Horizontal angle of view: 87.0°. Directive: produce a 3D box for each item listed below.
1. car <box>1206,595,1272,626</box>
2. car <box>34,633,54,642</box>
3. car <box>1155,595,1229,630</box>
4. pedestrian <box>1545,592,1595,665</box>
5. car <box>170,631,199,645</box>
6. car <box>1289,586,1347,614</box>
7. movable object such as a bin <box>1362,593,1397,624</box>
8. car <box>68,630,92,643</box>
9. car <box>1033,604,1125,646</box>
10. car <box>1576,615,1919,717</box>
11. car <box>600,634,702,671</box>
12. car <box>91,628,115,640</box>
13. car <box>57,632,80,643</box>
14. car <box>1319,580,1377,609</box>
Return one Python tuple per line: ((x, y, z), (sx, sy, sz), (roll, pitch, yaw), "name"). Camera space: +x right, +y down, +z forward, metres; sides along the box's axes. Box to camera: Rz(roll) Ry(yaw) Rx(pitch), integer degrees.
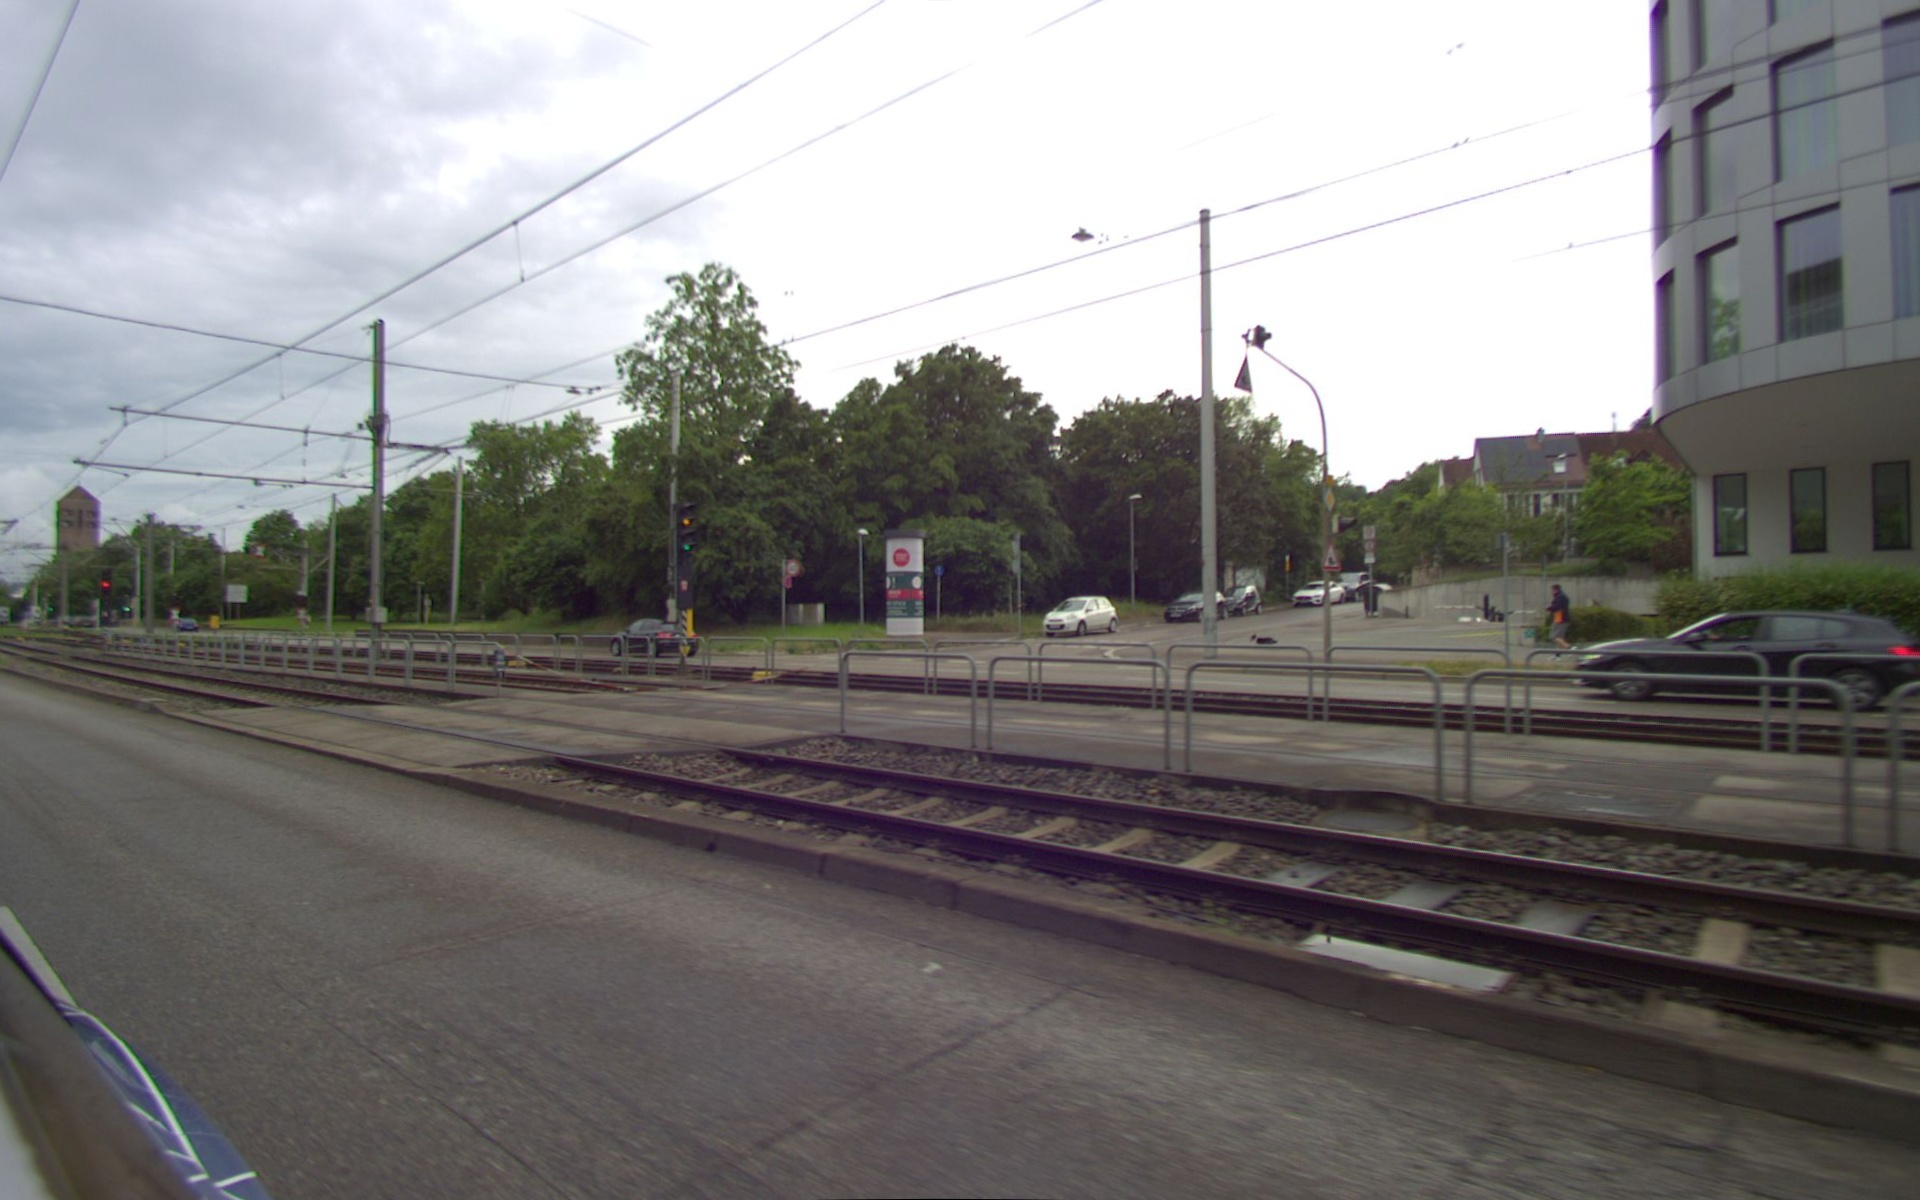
((14.693, 0.524, 53.095), (1.871, 1.421, 4.035), (-2, 1, 39), "car")
((-148.293, 6.112, 163.879), (4.680, 1.458, 1.906), (-2, -2, 42), "car")
((11.188, 0.578, 48.561), (1.871, 1.464, 4.035), (-2, 1, 39), "car")
((14.260, 0.657, 23.660), (0.845, 1.660, 0.716), (-1, -1, 42), "pedestrian")
((-78.586, 3.813, 102.512), (3.901, 1.408, 1.741), (-2, -2, 44), "car")
((21.328, -0.012, 60.168), (1.943, 1.485, 4.215), (-2, 1, 39), "car")
((19.665, 0.396, 47.443), (1.269, 1.406, 1.257), (-2, 1, 34), "movable object such as a bin")
((-108.293, 4.490, 124.518), (4.309, 1.498, 1.870), (-2, -2, 44), "car")
((4.892, 0.987, 41.195), (1.924, 1.464, 3.881), (-2, 1, 39), "car")
((11.982, 0.936, 15.356), (4.257, 1.357, 1.779), (-2, -2, 41), "car")
((-11.238, 1.870, 36.732), (3.986, 1.253, 1.738), (-2, -2, 41), "car")
((-112.008, 4.426, 132.287), (4.848, 1.607, 1.926), (-2, -2, 44), "car")
((-131.012, 5.487, 148.702), (5.158, 1.601, 2.066), (-2, -2, 43), "car")
((24.614, -0.366, 64.149), (1.946, 1.673, 4.095), (-2, 1, 44), "car")
